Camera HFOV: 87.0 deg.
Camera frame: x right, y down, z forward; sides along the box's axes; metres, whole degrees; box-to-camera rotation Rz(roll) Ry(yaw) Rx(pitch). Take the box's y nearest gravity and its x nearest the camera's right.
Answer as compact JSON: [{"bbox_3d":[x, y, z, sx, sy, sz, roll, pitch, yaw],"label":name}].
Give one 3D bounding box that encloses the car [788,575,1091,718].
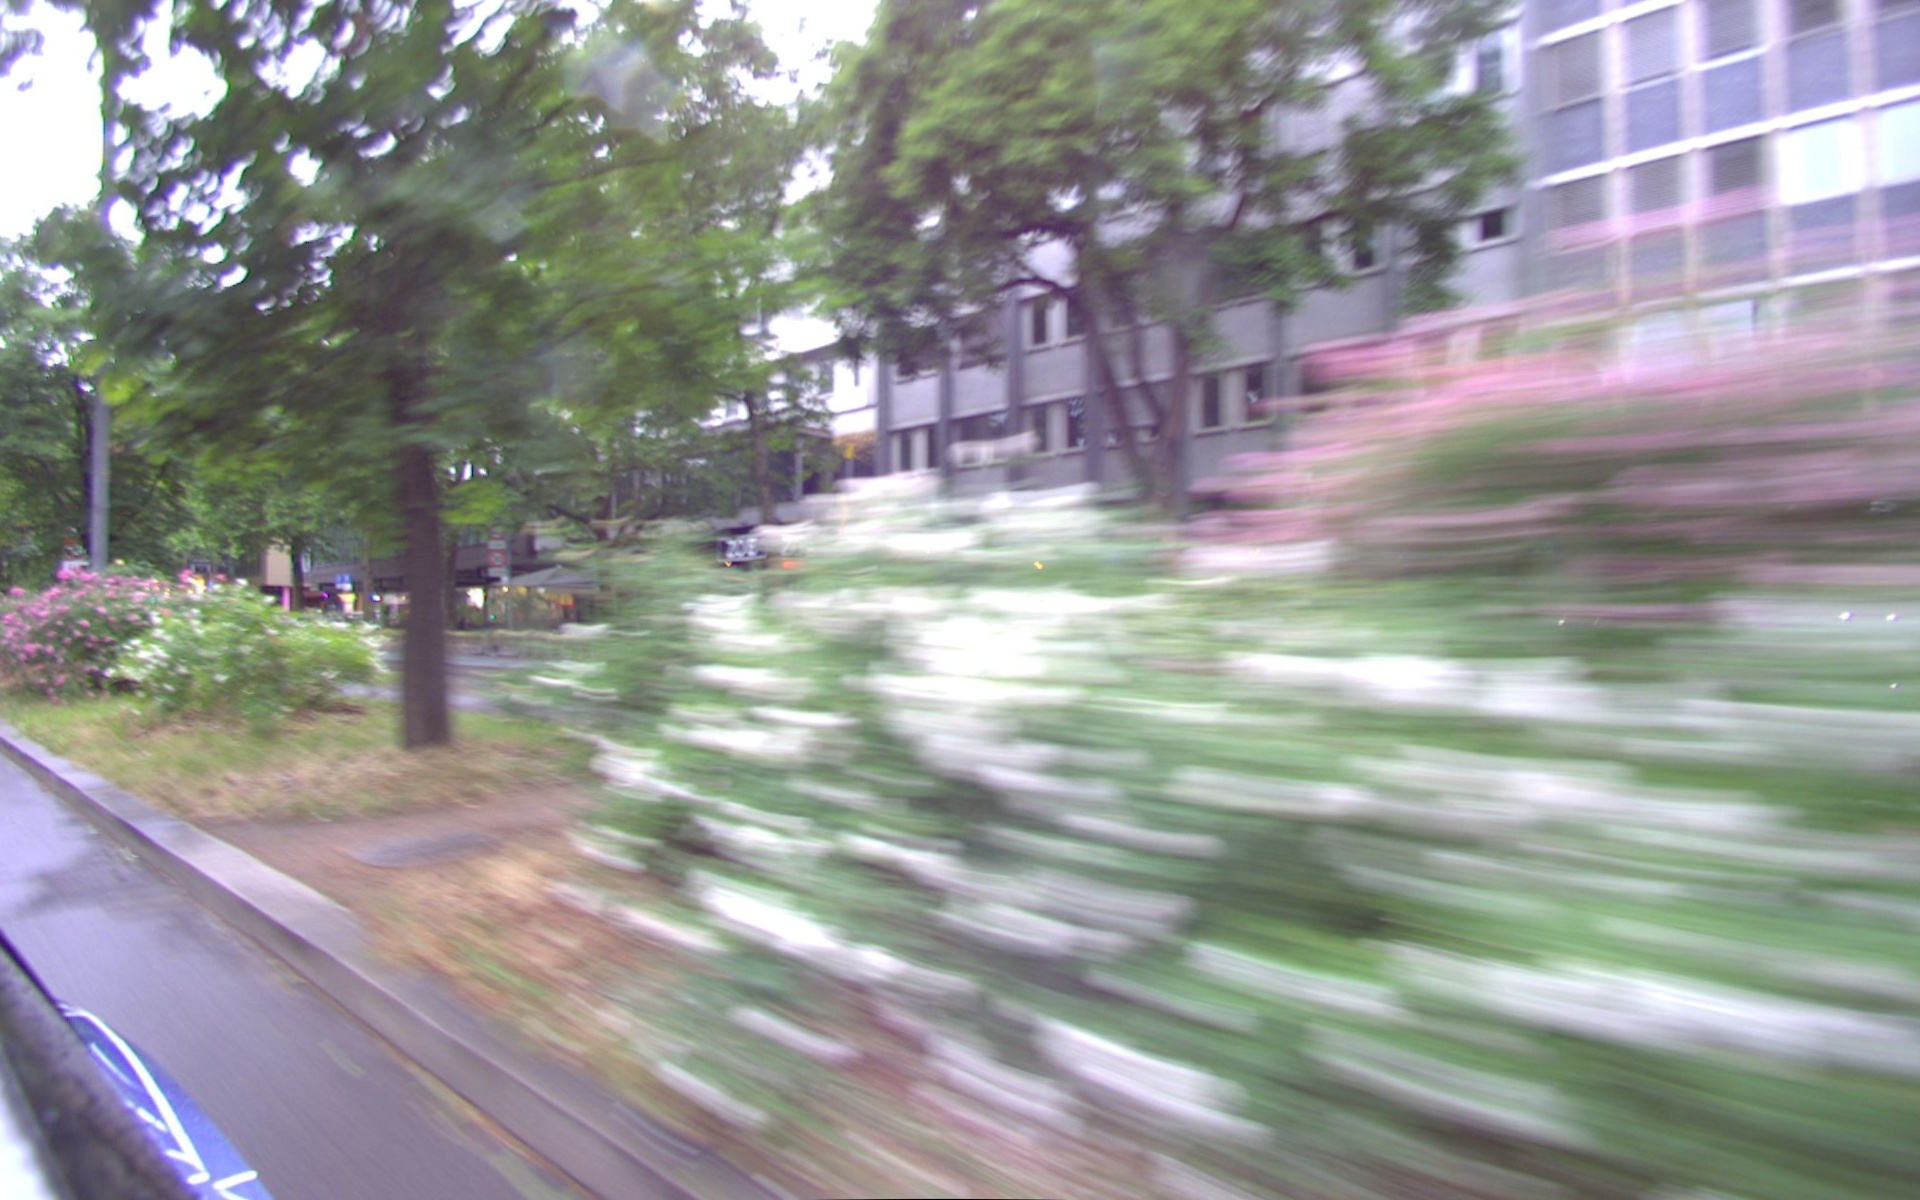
[{"bbox_3d":[-0.379,0.555,13.670,4.013,1.650,1.704,-1,0,42],"label":"car"}]
